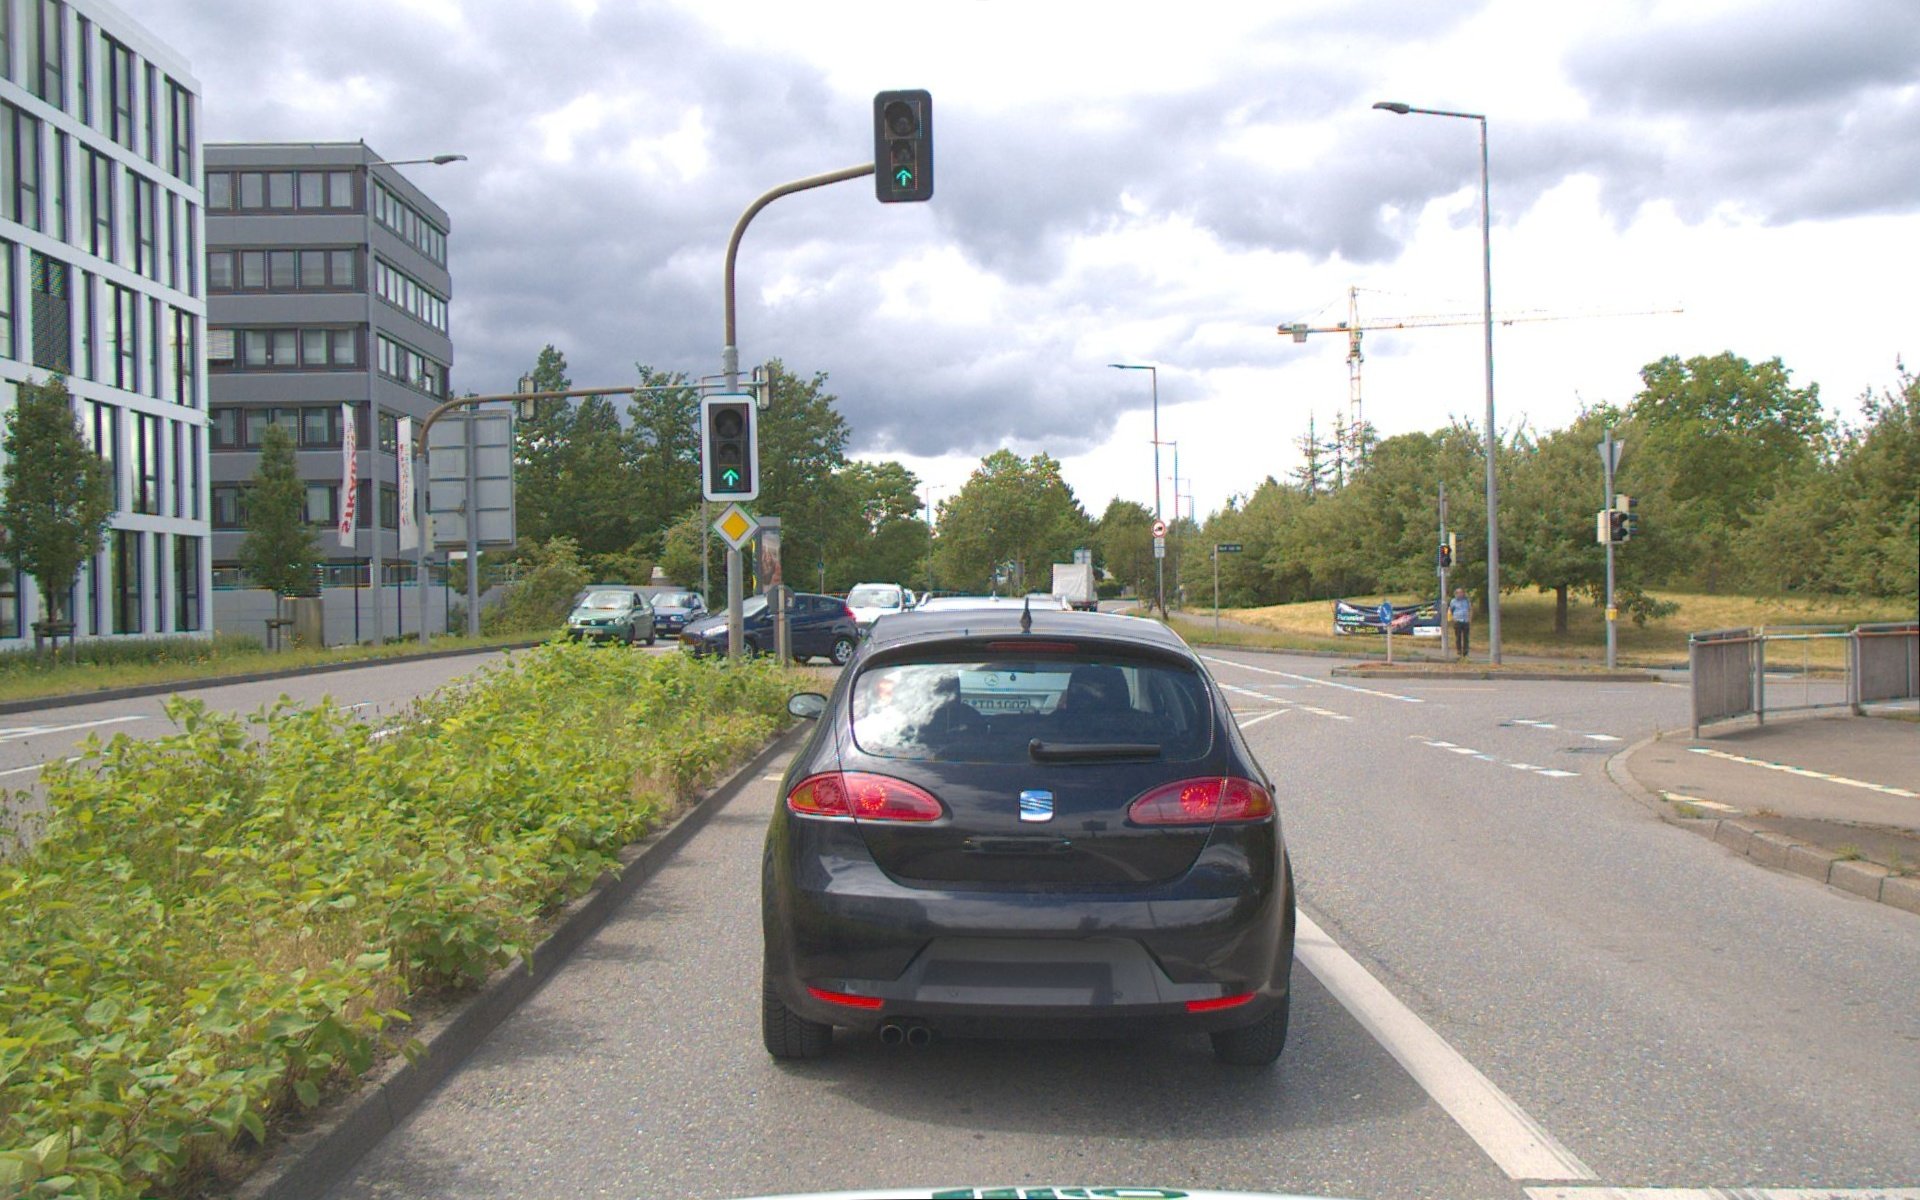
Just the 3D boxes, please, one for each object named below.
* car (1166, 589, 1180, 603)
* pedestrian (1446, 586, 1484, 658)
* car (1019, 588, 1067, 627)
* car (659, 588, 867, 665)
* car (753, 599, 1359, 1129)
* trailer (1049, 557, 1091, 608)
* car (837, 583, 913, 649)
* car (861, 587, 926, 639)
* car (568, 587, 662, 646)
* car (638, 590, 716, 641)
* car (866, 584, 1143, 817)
[{"bbox_3d":[26.480,-0.522,205.457,1.631,1.624,4.003,1,0,9],"label":"car"},{"bbox_3d":[13.068,0.566,42.820,0.703,1.824,1.044,1,0,3],"label":"pedestrian"},{"bbox_3d":[3.512,0.297,69.869,1.952,1.593,4.472,0,0,3],"label":"car"},{"bbox_3d":[-3.973,0.531,33.557,3.849,1.471,1.737,1,0,-37],"label":"car"},{"bbox_3d":[0.251,0.738,6.343,1.676,1.442,3.459,1,0,-1],"label":"car"},{"bbox_3d":[7.170,-1.093,107.150,2.438,3.127,5.590,1,0,6],"label":"trailer"},{"bbox_3d":[-2.321,0.409,46.229,1.783,1.716,4.646,1,1,1],"label":"car"},{"bbox_3d":[-2.059,0.385,52.248,1.625,1.545,4.086,1,1,3],"label":"car"},{"bbox_3d":[-8.997,0.405,43.346,1.572,1.457,3.753,0,0,1],"label":"car"},{"bbox_3d":[-8.597,0.442,50.462,1.521,1.444,3.897,1,1,3],"label":"car"},{"bbox_3d":[0.307,0.665,12.712,1.797,1.493,3.751,1,0,0],"label":"car"}]
